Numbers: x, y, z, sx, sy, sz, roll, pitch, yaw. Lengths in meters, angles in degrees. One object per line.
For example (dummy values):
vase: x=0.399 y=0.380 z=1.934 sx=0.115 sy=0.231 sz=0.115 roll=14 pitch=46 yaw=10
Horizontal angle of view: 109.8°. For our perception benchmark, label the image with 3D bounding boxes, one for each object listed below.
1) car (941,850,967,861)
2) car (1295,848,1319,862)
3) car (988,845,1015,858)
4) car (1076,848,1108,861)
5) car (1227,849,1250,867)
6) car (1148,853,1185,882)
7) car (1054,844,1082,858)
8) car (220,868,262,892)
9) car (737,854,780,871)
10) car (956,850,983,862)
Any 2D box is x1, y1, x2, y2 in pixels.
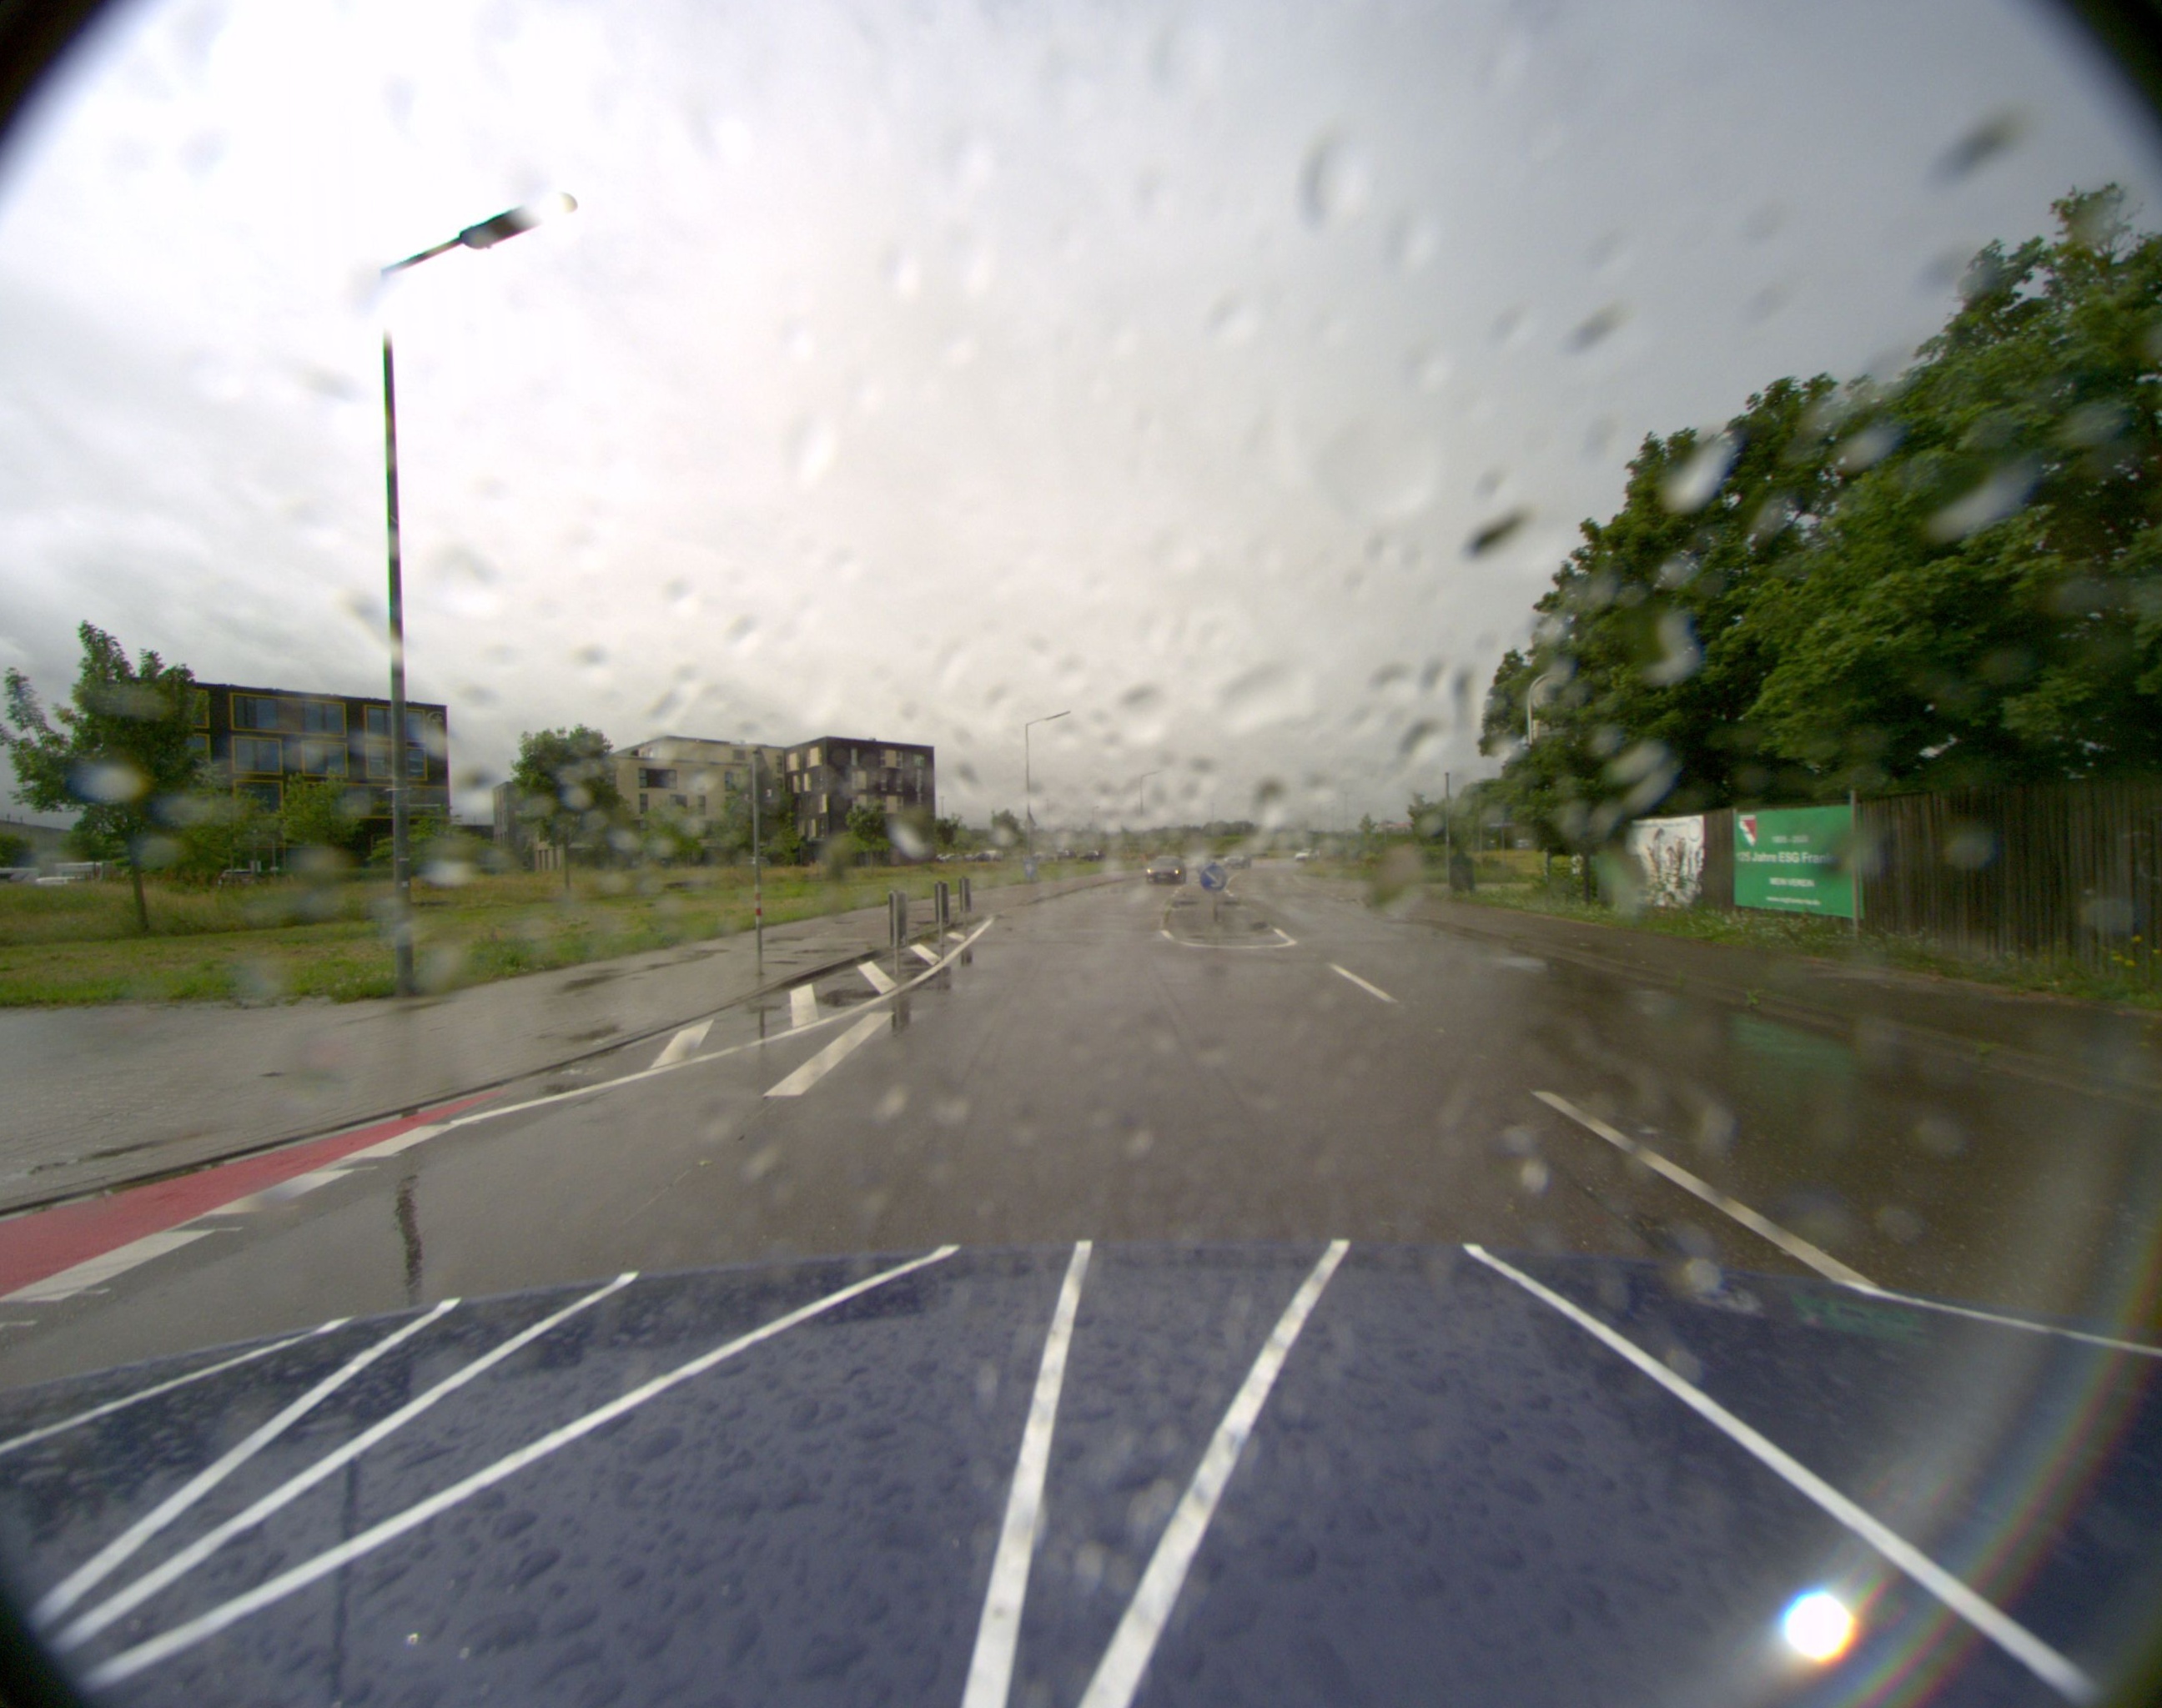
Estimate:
car: x=-19.990 y=0.262 z=119.485 sx=3.656 sy=1.602 sz=1.596 roll=-2 pitch=1 yaw=-37
car: x=29.454 y=0.109 z=99.122 sx=1.793 sy=1.624 sz=3.825 roll=-1 pitch=1 yaw=36
car: x=-13.410 y=-0.439 z=128.221 sx=4.007 sy=2.002 sz=1.994 roll=-2 pitch=1 yaw=-40
car: x=1.422 y=0.087 z=99.404 sx=3.807 sy=1.624 sz=1.802 roll=-1 pitch=1 yaw=43
car: x=14.928 y=0.357 z=71.740 sx=1.645 sy=1.624 sz=3.673 roll=-2 pitch=1 yaw=19
car: x=4.662 y=0.708 z=40.983 sx=1.722 sy=1.423 sz=3.821 roll=-2 pitch=1 yaw=10
car: x=-1.990 y=-0.439 z=116.551 sx=2.004 sy=2.002 sz=3.989 roll=-2 pitch=1 yaw=-44
car: x=-58.122 y=1.780 z=52.579 sx=3.658 sy=1.574 sz=1.652 roll=-1 pitch=1 yaw=38
car: x=-32.460 y=0.816 z=76.530 sx=1.644 sy=1.574 sz=3.674 roll=-1 pitch=1 yaw=27
car: x=-16.571 y=0.316 z=113.016 sx=3.656 sy=1.652 sz=1.646 roll=-2 pitch=1 yaw=-33
